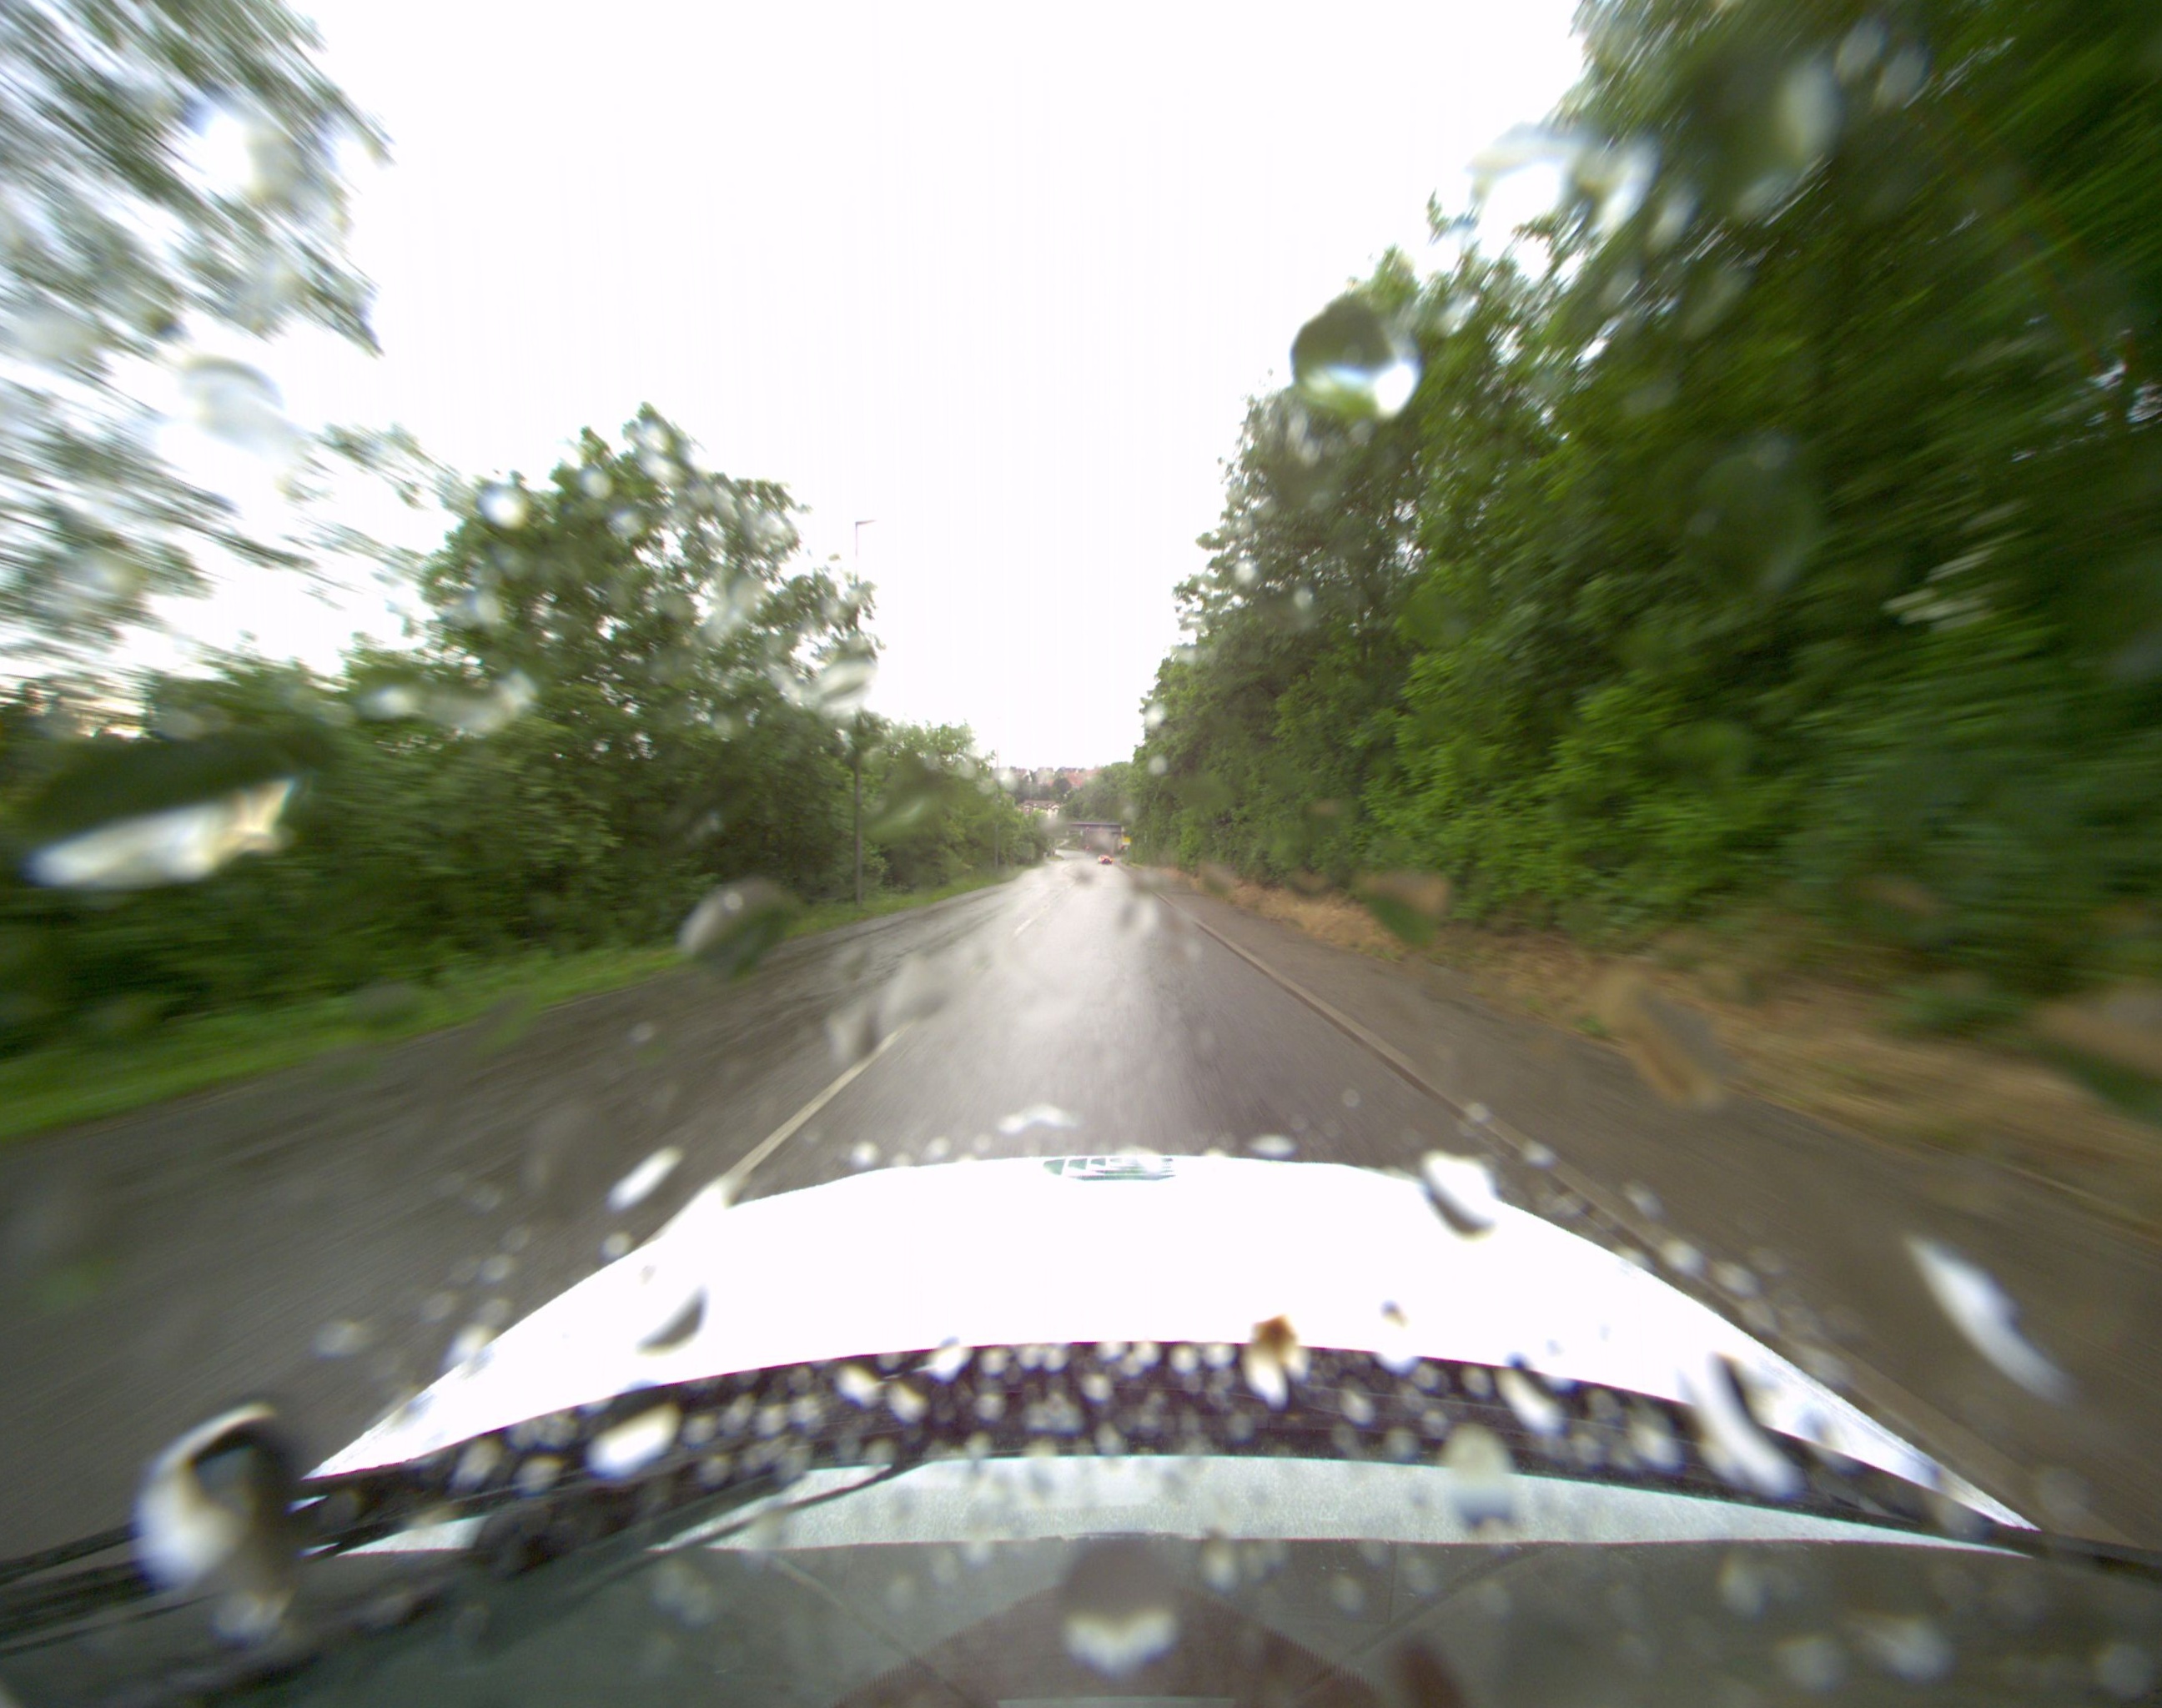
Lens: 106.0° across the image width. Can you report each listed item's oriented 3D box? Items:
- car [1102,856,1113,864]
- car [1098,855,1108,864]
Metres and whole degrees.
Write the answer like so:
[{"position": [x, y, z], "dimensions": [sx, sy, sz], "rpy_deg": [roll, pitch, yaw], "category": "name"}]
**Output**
[{"position": [4.671, 1.113, 142.826], "dimensions": [1.761, 1.380, 4.002], "rpy_deg": [-1, 0, 2], "category": "car"}, {"position": [3.999, 0.984, 149.460], "dimensions": [1.761, 1.563, 4.002], "rpy_deg": [-1, 0, 2], "category": "car"}]
